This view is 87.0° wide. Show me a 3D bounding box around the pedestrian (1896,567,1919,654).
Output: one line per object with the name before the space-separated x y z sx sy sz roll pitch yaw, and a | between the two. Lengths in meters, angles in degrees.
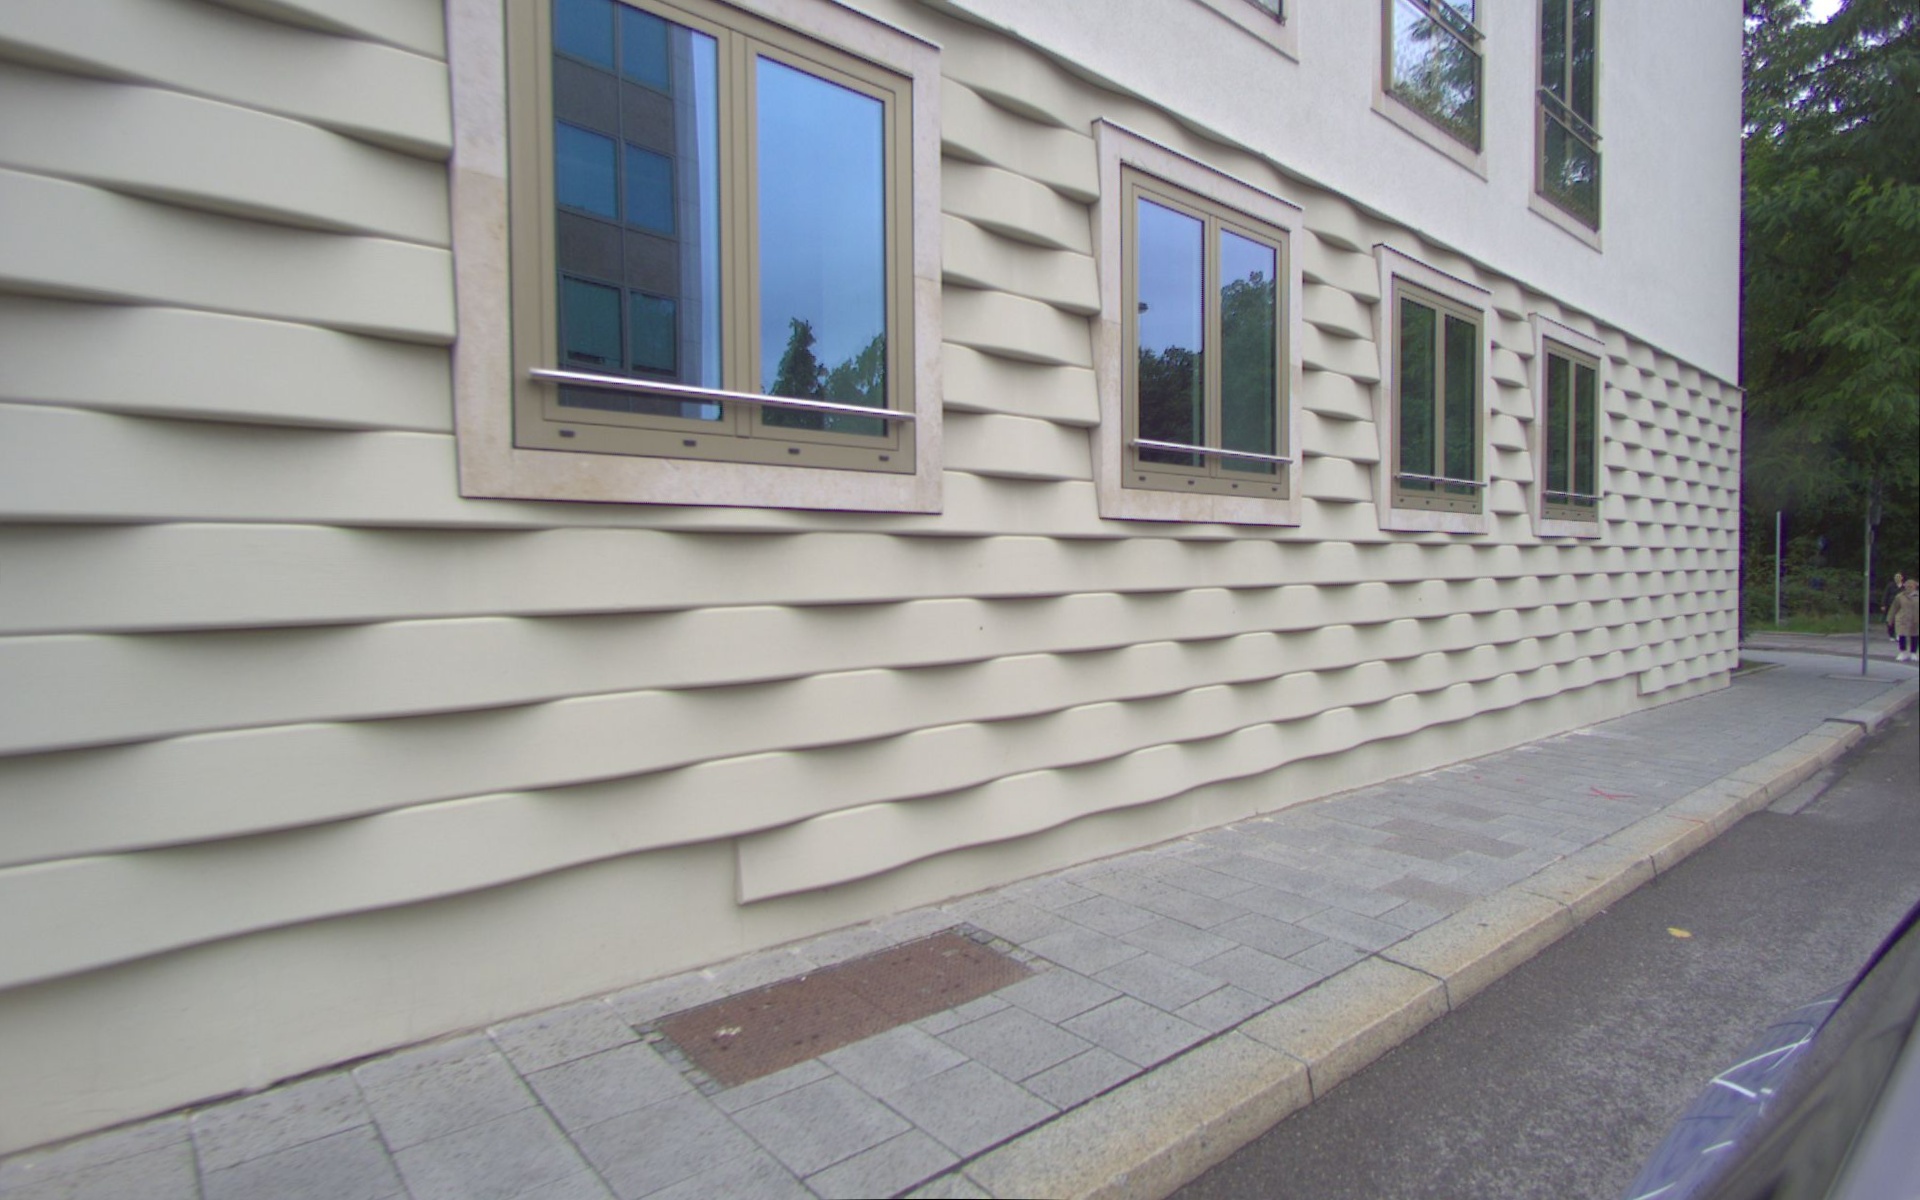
pedestrian | 19.051 0.205 19.995 0.645 1.701 0.752 -1 1 -42
